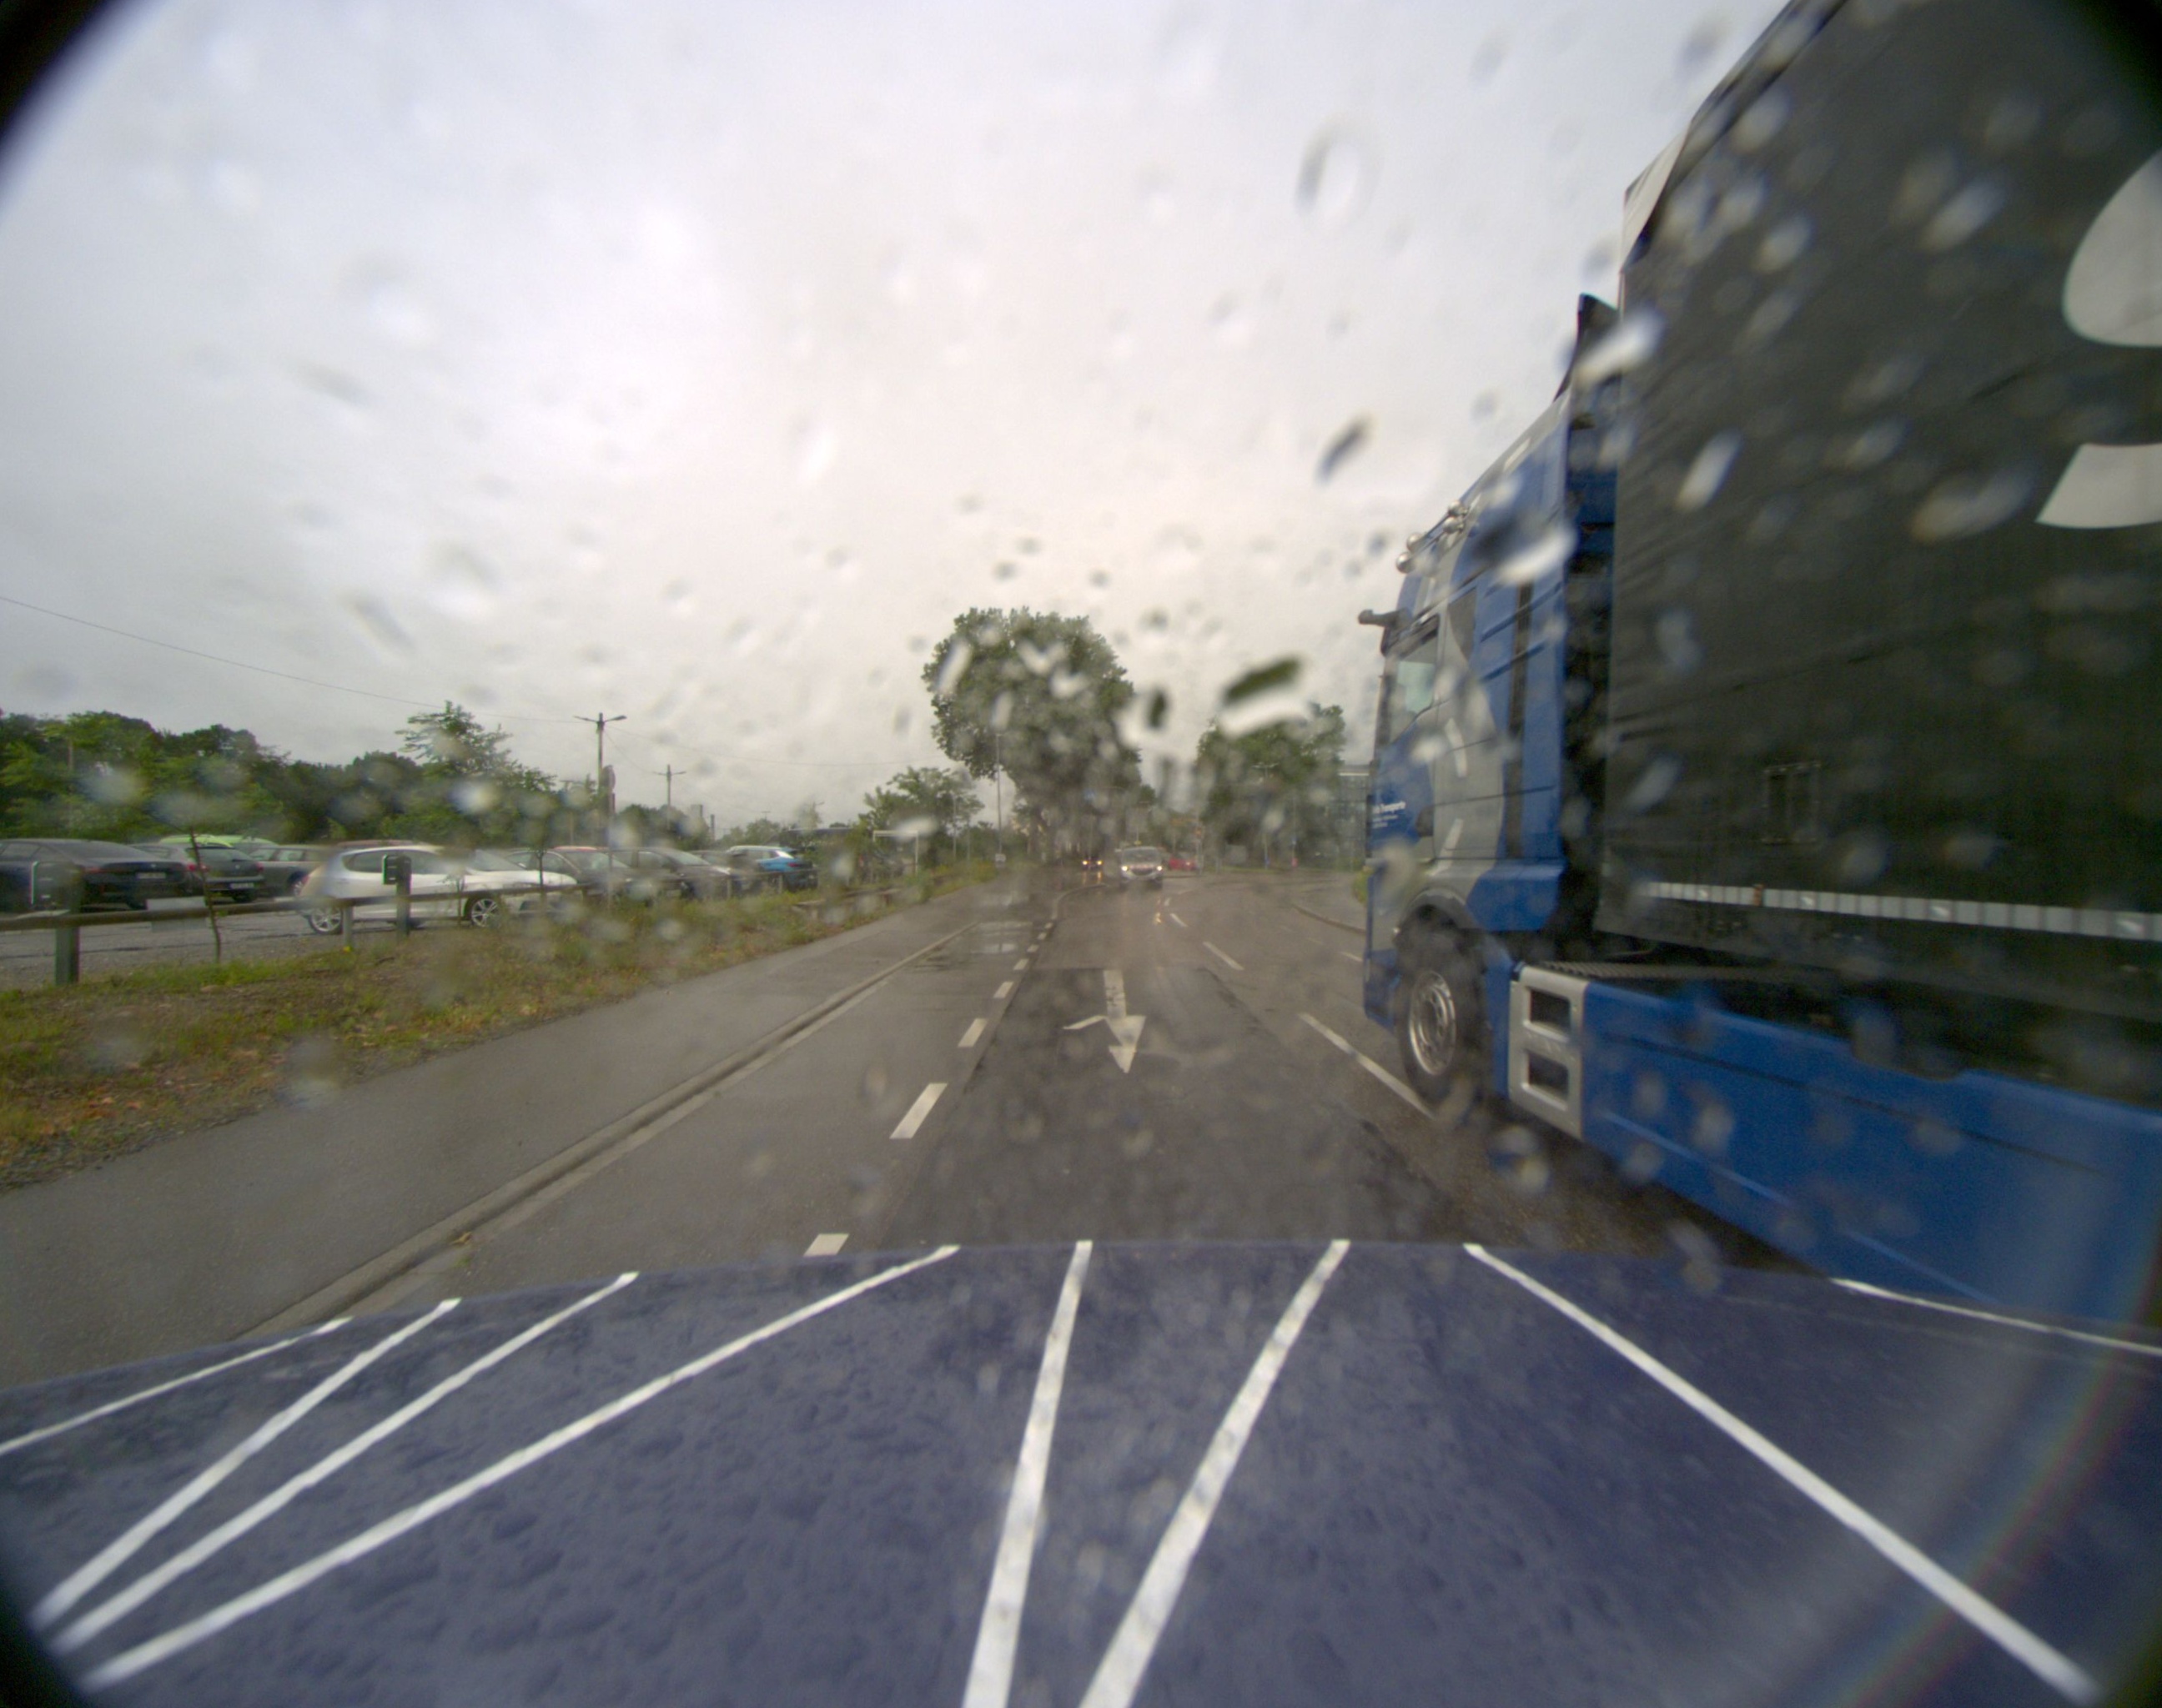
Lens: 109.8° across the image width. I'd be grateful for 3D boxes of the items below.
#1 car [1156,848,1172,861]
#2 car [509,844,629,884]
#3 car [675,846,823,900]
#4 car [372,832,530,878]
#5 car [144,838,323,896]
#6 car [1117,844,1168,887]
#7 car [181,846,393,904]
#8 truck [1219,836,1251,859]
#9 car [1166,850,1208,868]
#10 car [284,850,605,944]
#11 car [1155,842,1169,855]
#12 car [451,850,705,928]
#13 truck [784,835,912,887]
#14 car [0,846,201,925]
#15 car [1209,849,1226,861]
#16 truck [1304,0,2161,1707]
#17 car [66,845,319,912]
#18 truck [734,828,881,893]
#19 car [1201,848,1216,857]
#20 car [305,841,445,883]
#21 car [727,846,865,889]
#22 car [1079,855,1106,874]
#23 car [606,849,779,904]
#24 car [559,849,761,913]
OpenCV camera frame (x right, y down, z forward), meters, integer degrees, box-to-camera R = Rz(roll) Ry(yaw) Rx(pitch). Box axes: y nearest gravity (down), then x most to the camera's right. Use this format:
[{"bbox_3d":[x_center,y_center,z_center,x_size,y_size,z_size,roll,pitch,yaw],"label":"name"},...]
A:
[{"bbox_3d":[9.028,0.079,82.344,1.643,1.346,3.777,0,0,7],"label":"car"},{"bbox_3d":[-21.790,0.400,32.428,3.961,1.528,1.807,1,1,3],"label":"car"},{"bbox_3d":[-10.612,0.585,24.538,3.906,1.585,1.896,-1,1,-1],"label":"car"},{"bbox_3d":[-22.249,0.004,26.926,4.074,1.482,1.926,1,1,3],"label":"car"},{"bbox_3d":[-27.231,0.396,24.495,3.995,1.789,1.797,0,1,5],"label":"car"},{"bbox_3d":[2.612,0.467,33.096,1.838,1.714,4.172,1,0,0],"label":"car"},{"bbox_3d":[-21.669,0.540,20.847,3.961,1.419,1.887,1,1,3],"label":"car"},{"bbox_3d":[18.323,-0.752,90.690,2.090,2.604,6.975,0,0,-3],"label":"truck"},{"bbox_3d":[8.616,0.403,61.815,1.746,1.373,3.993,0,0,-19],"label":"car"},{"bbox_3d":[-10.618,0.670,12.937,3.781,1.385,1.905,-1,1,-1],"label":"car"},{"bbox_3d":[11.680,-0.784,108.924,1.852,1.593,4.501,-4,1,7],"label":"car"},{"bbox_3d":[-10.174,0.670,15.627,3.906,1.415,1.905,-1,1,-1],"label":"car"},{"bbox_3d":[-10.912,0.328,35.808,5.342,2.309,2.074,-1,1,1],"label":"truck"},{"bbox_3d":[-21.022,0.589,15.543,3.961,1.419,1.887,1,1,3],"label":"car"},{"bbox_3d":[18.871,0.179,105.106,1.649,1.443,3.531,1,-2,-2],"label":"car"},{"bbox_3d":[3.433,-0.540,2.969,3.302,4.627,6.032,0,0,0],"label":"truck"},{"bbox_3d":[-21.068,0.542,18.138,3.961,1.419,1.887,1,1,3],"label":"car"},{"bbox_3d":[-10.765,0.245,30.226,5.046,2.389,2.110,-1,1,-1],"label":"truck"},{"bbox_3d":[23.513,-0.322,140.679,1.999,1.632,3.999,0,0,-2],"label":"car"},{"bbox_3d":[-28.196,0.301,30.410,3.996,1.630,1.765,0,1,2],"label":"car"},{"bbox_3d":[-10.047,0.452,27.006,4.170,1.412,1.863,-1,1,-2],"label":"car"},{"bbox_3d":[0.962,0.831,61.181,1.742,1.437,4.002,2,0,6],"label":"car"},{"bbox_3d":[-10.879,0.599,21.481,3.906,1.387,1.779,-1,1,-1],"label":"car"},{"bbox_3d":[-10.186,0.623,18.602,3.906,1.415,1.779,-1,1,-1],"label":"car"}]
